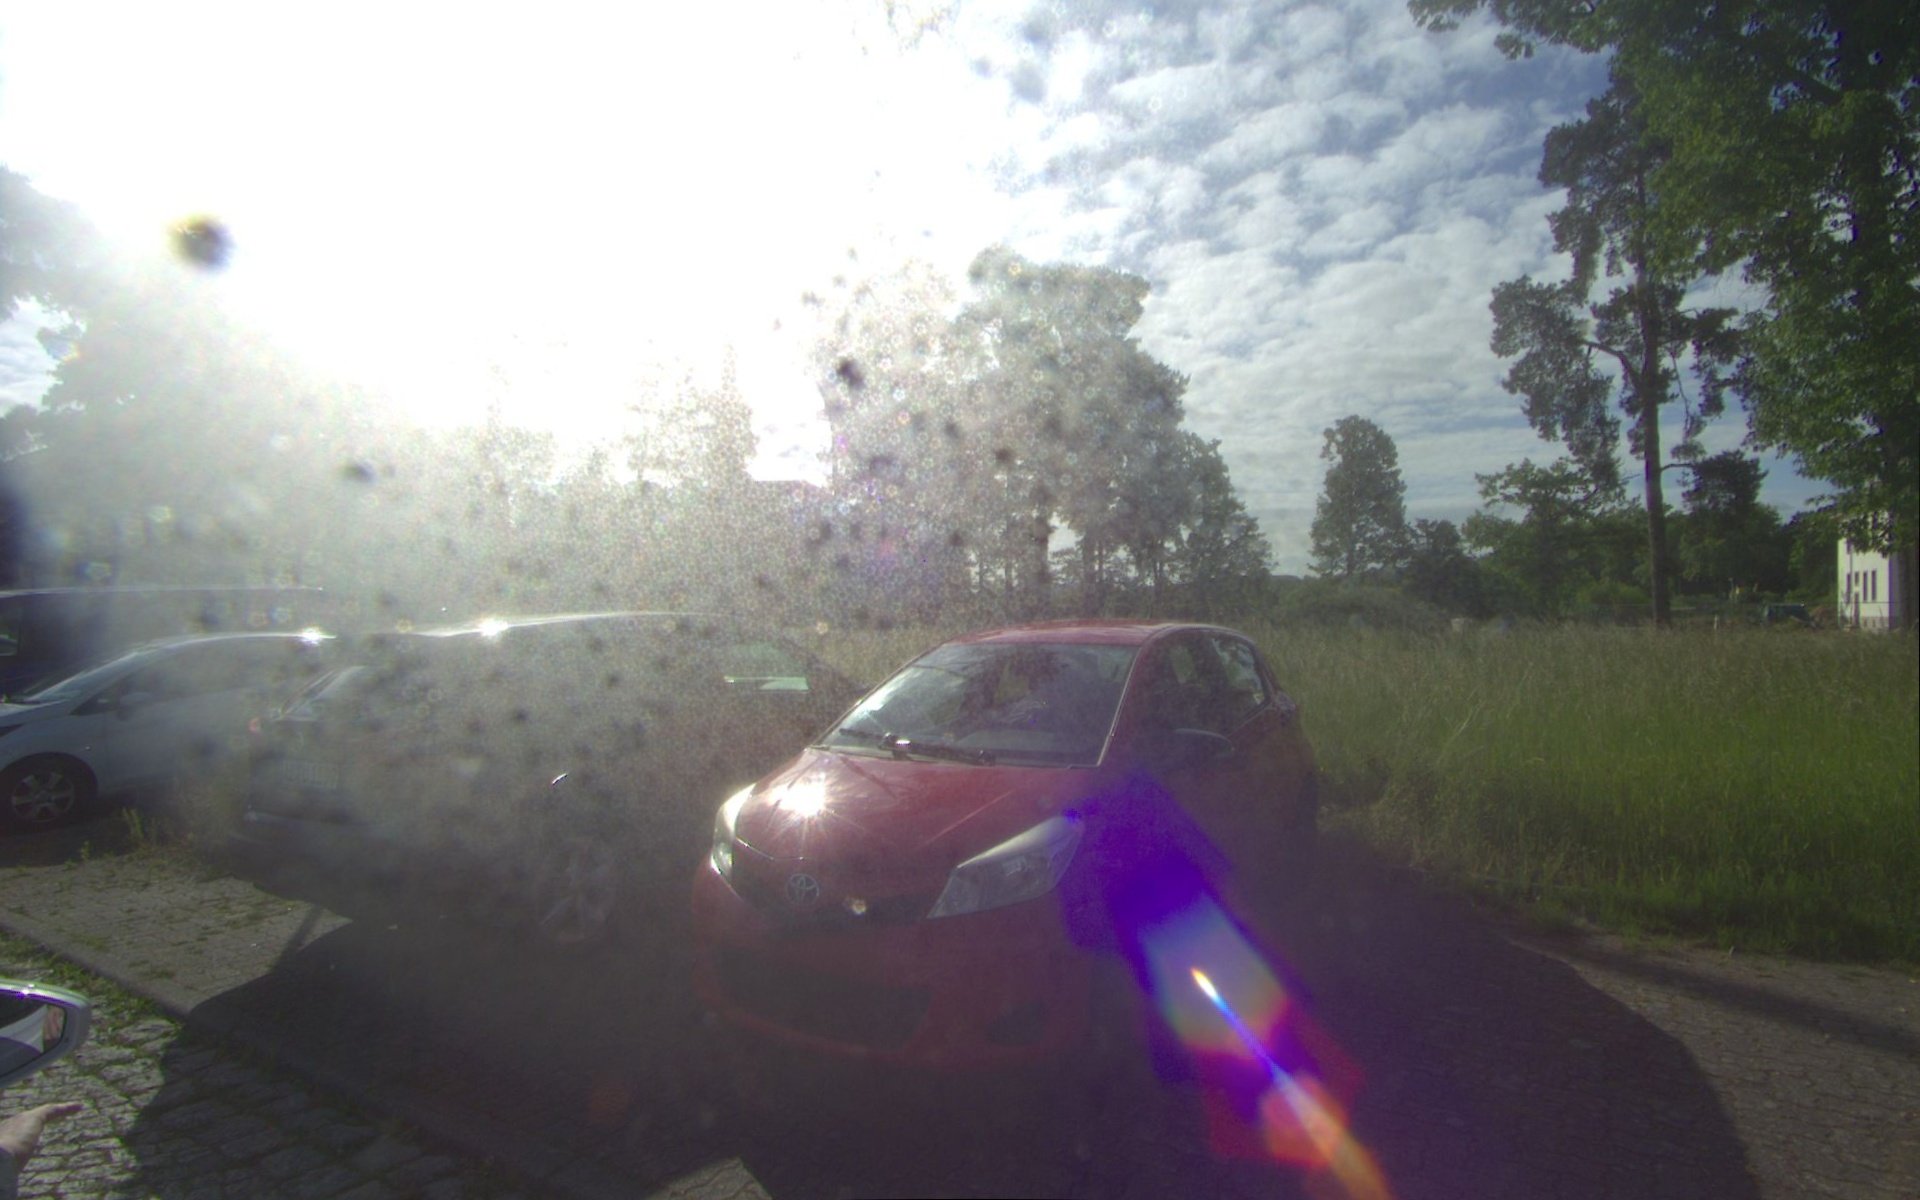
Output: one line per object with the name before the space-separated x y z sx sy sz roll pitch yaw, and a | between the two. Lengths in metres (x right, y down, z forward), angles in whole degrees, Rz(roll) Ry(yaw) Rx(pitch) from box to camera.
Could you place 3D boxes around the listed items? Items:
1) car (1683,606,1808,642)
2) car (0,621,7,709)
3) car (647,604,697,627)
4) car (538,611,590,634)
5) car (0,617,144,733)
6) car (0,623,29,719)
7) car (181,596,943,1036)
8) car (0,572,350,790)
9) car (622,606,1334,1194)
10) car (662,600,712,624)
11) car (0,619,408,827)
car | 50.902 1.599 65.054 2.341 2.199 5.988 0 -2 -29
car | -18.452 1.135 16.661 1.621 1.549 3.473 0 -1 31
car | -25.654 1.397 89.299 1.971 2.040 3.979 0 -1 32
car | -36.001 1.994 91.110 1.971 2.040 3.979 0 -1 32
car | -13.647 1.044 13.550 1.622 1.485 3.685 -1 1 33
car | -16.322 1.124 14.637 1.621 1.486 3.669 -1 0 31
car | -1.867 0.833 5.885 1.746 1.643 3.930 0 -1 31
car | -9.443 0.775 10.648 2.052 2.040 4.672 0 -1 29
car | 0.492 0.817 4.670 1.622 1.550 3.755 0 -1 32
car | -23.979 1.076 88.141 1.971 2.040 3.979 0 -1 32
car | -7.302 0.966 9.091 1.621 1.508 3.714 0 0 30
